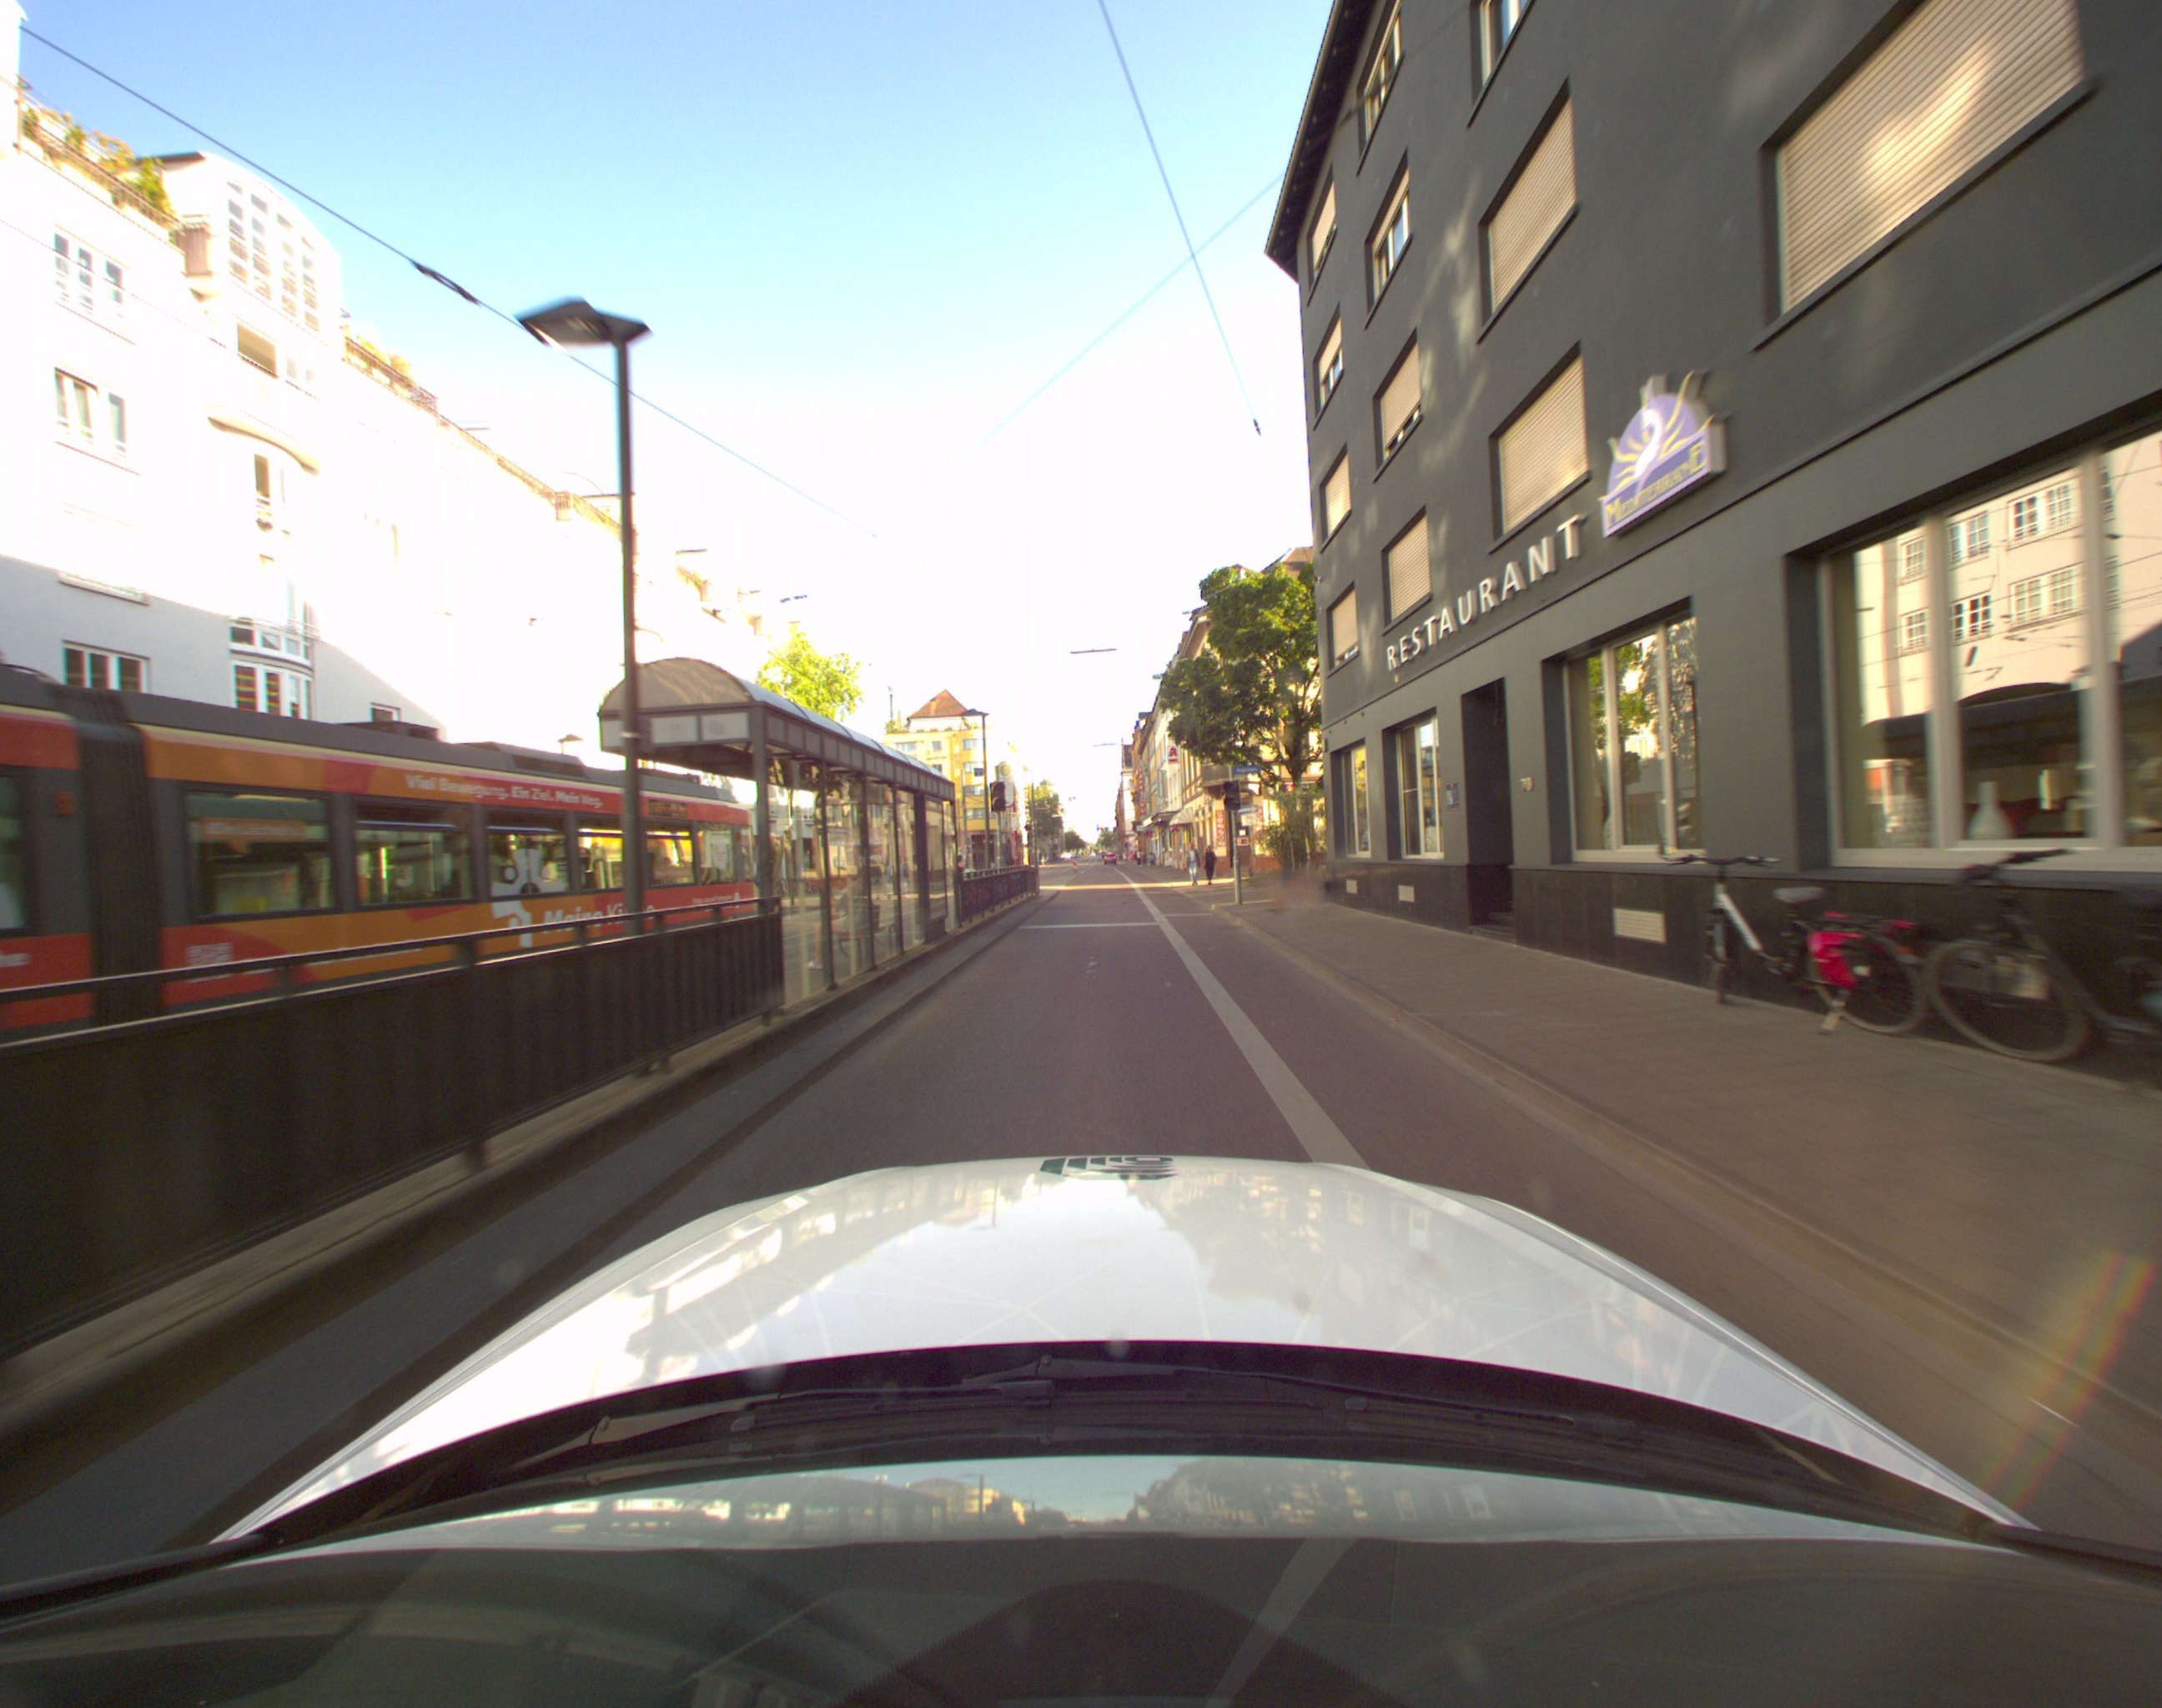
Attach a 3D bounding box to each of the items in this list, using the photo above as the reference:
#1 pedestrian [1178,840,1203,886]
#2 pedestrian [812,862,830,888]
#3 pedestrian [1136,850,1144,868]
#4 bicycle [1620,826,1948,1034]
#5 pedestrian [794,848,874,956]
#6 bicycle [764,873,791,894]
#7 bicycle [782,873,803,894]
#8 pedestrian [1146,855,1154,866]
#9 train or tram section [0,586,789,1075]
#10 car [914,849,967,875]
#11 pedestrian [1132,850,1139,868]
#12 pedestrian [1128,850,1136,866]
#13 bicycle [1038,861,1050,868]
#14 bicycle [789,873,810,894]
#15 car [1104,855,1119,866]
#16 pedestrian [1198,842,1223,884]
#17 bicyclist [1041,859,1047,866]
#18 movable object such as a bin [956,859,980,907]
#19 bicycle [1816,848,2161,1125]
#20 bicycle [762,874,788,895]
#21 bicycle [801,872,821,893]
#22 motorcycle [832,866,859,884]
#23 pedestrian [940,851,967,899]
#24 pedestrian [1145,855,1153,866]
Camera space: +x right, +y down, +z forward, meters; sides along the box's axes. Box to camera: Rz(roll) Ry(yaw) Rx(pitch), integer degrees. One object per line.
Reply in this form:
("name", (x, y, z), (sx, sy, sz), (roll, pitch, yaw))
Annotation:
("pedestrian", (4.394, 0.349, 32.632), (0.711, 1.774, 0.772), (-6, 1, -2))
("pedestrian", (-17.269, 1.394, 54.156), (1.019, 1.661, 0.913), (0, 0, -27))
("pedestrian", (5.886, 0.499, 81.229), (0.645, 1.796, 0.562), (-3, 0, 5))
("bicycle", (4.879, 0.449, 5.872), (0.621, 1.198, 1.907), (-6, 0, 0))
("pedestrian", (-2.815, 0.534, 9.332), (0.682, 1.175, 0.537), (-3, 0, 2))
("bicycle", (-16.998, 1.645, 45.609), (0.495, 1.107, 1.807), (0, 1, 14))
("bicycle", (-16.294, 1.642, 46.017), (0.496, 1.107, 1.801), (0, 1, 2))
("pedestrian", (6.816, 0.602, 80.601), (0.687, 1.043, 0.681), (-3, 0, 5))
("train or tram section", (-8.843, -0.096, 12.094), (2.873, 3.490, 14.960), (-2, 0, 3))
("car", (-14.838, 0.843, 86.156), (5.086, 2.575, 2.129), (-2, 0, 2))
("pedestrian", (5.506, 0.487, 82.227), (0.557, 1.796, 0.652), (-3, 0, 8))
("pedestrian", (6.338, 0.468, 101.960), (0.840, 1.917, 0.661), (-3, 0, -1))
("bicycle", (-6.577, 1.853, 144.652), (1.918, 1.003, 0.758), (-3, 0, 19))
("bicycle", (-15.869, 1.637, 45.898), (0.496, 1.107, 1.801), (0, 1, 2))
("car", (4.295, 0.944, 116.302), (1.986, 1.449, 4.001), (-2, 0, 1))
("pedestrian", (5.177, 0.349, 32.693), (0.711, 1.602, 0.772), (-6, 1, -2))
("bicyclist", (-6.597, 1.442, 144.655), (0.704, 1.220, 0.758), (-3, 0, 19))
("movable object such as a bin", (-2.283, 0.579, 16.506), (0.351, 0.944, 0.530), (-3, 0, 0))
("bicycle", (4.709, 0.537, 3.985), (0.588, 1.070, 1.806), (-6, 0, 4))
("bicycle", (-16.686, 1.649, 44.417), (0.494, 1.107, 1.280), (0, 1, 29))
("bicycle", (-15.486, 1.632, 46.710), (0.496, 1.107, 1.801), (0, 1, 2))
("motorcycle", (-17.090, 1.507, 59.105), (1.791, 1.298, 0.605), (0, 0, -5))
("pedestrian", (-4.707, 0.763, 30.147), (0.867, 1.714, 0.787), (-1, 1, -1))
("pedestrian", (6.789, 0.618, 81.370), (0.687, 1.043, 0.681), (-3, 0, 5))
